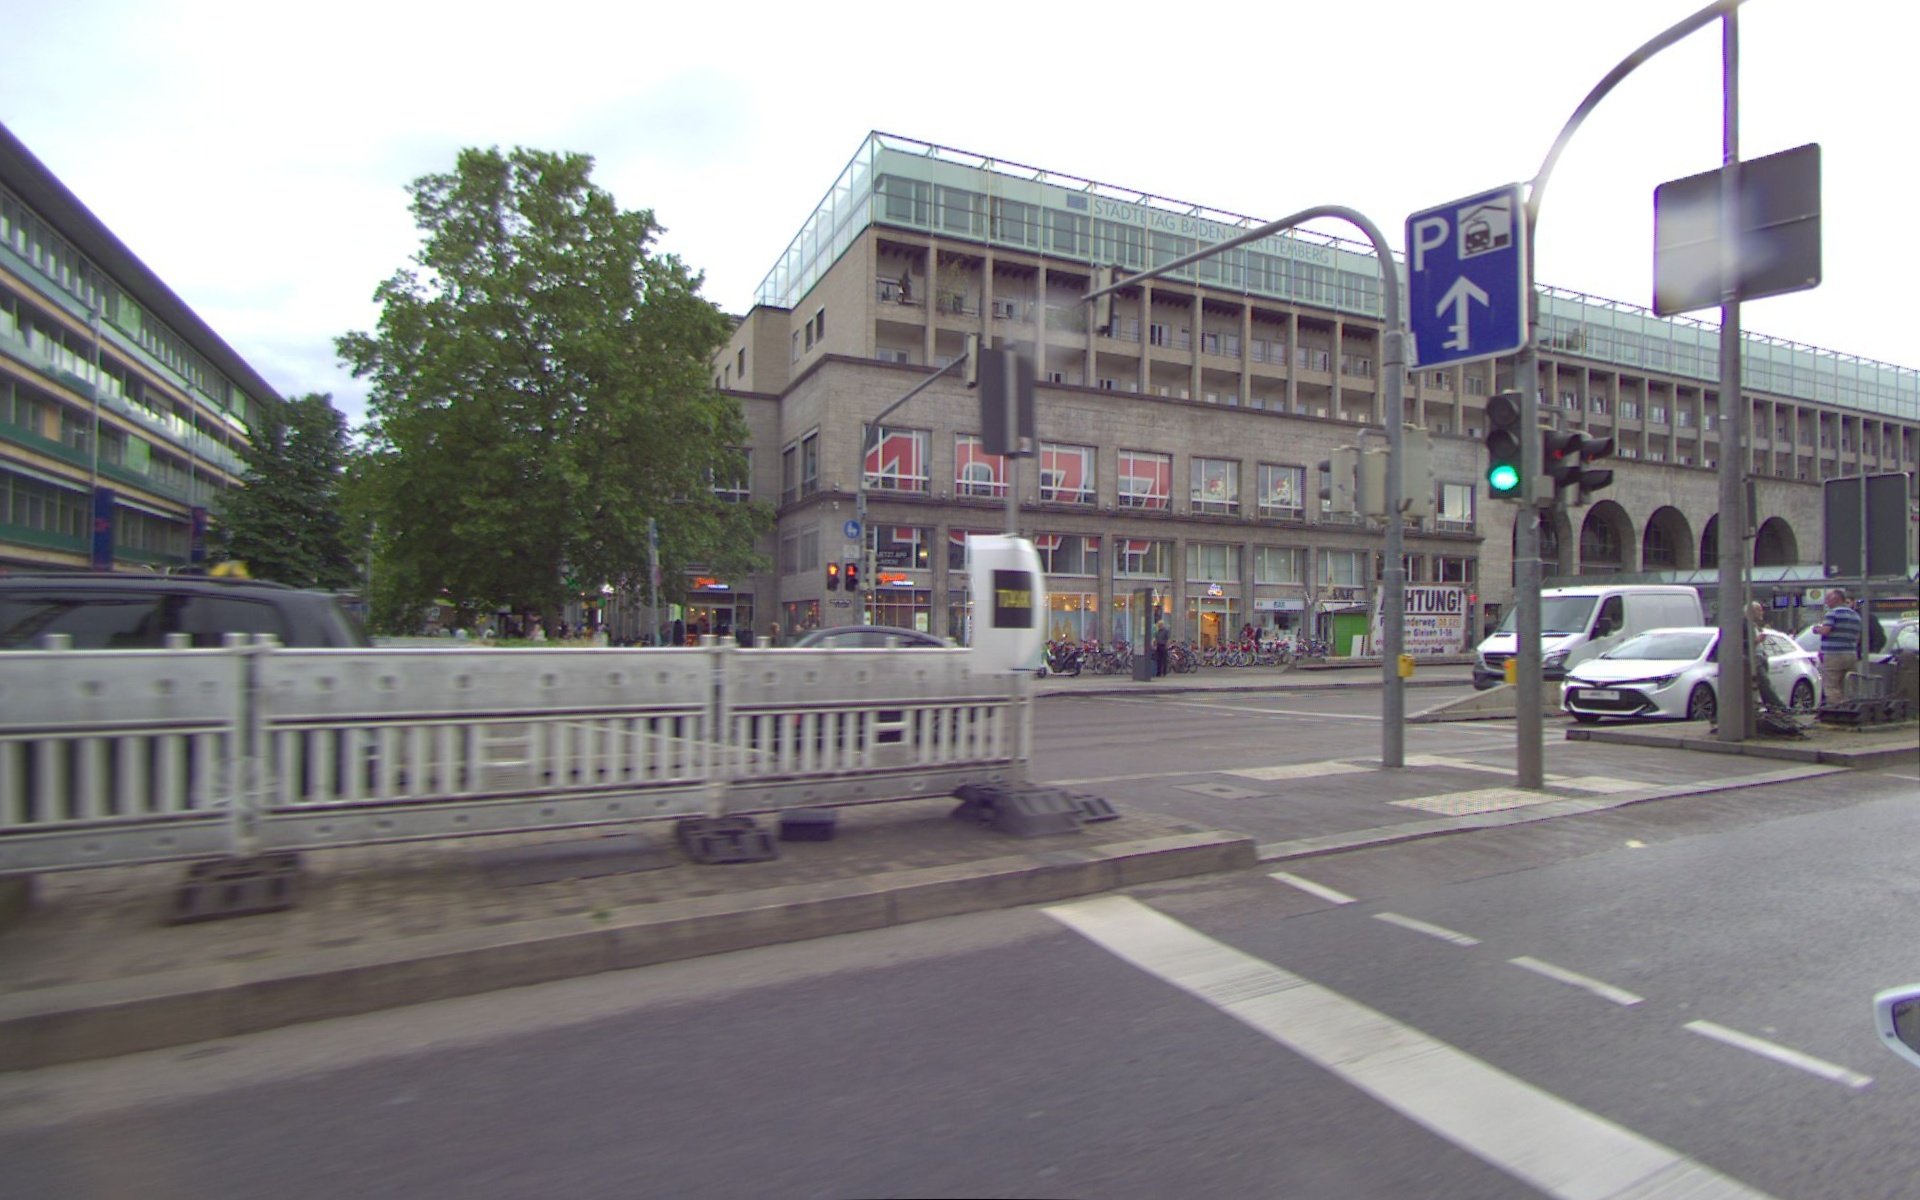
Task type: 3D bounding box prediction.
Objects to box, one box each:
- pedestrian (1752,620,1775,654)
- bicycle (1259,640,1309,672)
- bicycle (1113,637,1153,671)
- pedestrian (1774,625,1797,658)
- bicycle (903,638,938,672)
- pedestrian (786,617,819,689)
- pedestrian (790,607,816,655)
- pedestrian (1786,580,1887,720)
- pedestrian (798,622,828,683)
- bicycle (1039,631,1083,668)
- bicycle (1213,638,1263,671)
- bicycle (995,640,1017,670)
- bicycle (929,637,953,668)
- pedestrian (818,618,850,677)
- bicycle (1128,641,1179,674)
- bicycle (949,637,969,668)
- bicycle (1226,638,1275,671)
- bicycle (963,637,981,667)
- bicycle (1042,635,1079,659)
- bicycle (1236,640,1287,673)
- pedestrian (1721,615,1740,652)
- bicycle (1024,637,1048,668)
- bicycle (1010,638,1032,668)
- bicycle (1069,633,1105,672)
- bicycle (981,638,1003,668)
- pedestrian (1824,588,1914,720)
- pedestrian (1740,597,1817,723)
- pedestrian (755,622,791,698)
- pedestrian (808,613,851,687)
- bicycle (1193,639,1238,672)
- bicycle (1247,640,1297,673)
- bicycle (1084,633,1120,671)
[{"bbox_3d":[34.289,1.560,42.880,0.695,1.412,0.701,1,1,35],"label":"pedestrian"},{"bbox_3d":[14.485,2.474,45.021,0.673,1.343,2.192,1,-1,-34],"label":"bicycle"},{"bbox_3d":[7.114,2.197,41.361,0.673,1.343,1.656,1,-1,-34],"label":"bicycle"},{"bbox_3d":[36.752,1.854,44.733,0.695,1.412,0.701,1,1,35],"label":"pedestrian"},{"bbox_3d":[-1.476,2.027,37.288,0.672,1.146,1.476,0,1,-30],"label":"bicycle"},{"bbox_3d":[-3.792,1.269,24.176,0.553,1.707,0.747,1,-3,-28],"label":"pedestrian"},{"bbox_3d":[-6.774,1.340,43.236,0.812,2.040,0.871,1,-3,-32],"label":"pedestrian"},{"bbox_3d":[11.611,0.665,13.323,0.737,1.798,0.560,-1,-3,8],"label":"pedestrian"},{"bbox_3d":[-4.068,1.454,27.771,0.522,1.663,0.607,-4,-4,44],"label":"pedestrian"},{"bbox_3d":[4.234,2.059,42.087,1.742,1.454,0.680,1,1,21],"label":"bicycle"},{"bbox_3d":[11.943,2.322,43.238,0.586,1.343,2.192,1,-1,-34],"label":"bicycle"},{"bbox_3d":[1.785,2.145,39.127,0.436,1.071,1.615,0,1,-11],"label":"bicycle"},{"bbox_3d":[-0.726,2.000,38.627,0.693,1.071,1.616,0,1,-10],"label":"bicycle"},{"bbox_3d":[-3.472,1.305,27.655,0.747,1.592,0.469,2,-4,-45],"label":"pedestrian"},{"bbox_3d":[7.151,2.099,37.182,0.590,1.070,2.076,0,1,-33],"label":"bicycle"},{"bbox_3d":[-0.048,2.018,38.767,0.500,1.071,1.616,0,1,-10],"label":"bicycle"},{"bbox_3d":[12.554,2.336,43.525,0.555,1.343,2.192,1,-1,-35],"label":"bicycle"},{"bbox_3d":[0.452,2.009,38.898,0.417,1.071,1.616,0,1,-10],"label":"bicycle"},{"bbox_3d":[3.981,1.858,39.859,1.369,0.862,0.673,0,1,-38],"label":"bicycle"},{"bbox_3d":[13.172,2.471,43.976,0.673,1.343,2.192,1,-1,-34],"label":"bicycle"},{"bbox_3d":[32.064,1.392,41.826,0.575,1.527,0.624,1,1,35],"label":"pedestrian"},{"bbox_3d":[2.982,2.036,39.410,0.426,1.125,1.604,0,1,-15],"label":"bicycle"},{"bbox_3d":[2.385,2.059,39.292,0.448,1.071,1.615,0,1,-11],"label":"bicycle"},{"bbox_3d":[5.070,2.081,40.143,0.561,1.454,1.473,0,1,-36],"label":"bicycle"},{"bbox_3d":[1.233,2.045,38.883,0.489,1.071,1.615,0,1,-12],"label":"bicycle"},{"bbox_3d":[12.806,0.762,14.158,0.601,1.798,0.776,1,-4,-37],"label":"pedestrian"},{"bbox_3d":[11.670,0.828,14.329,0.585,1.734,0.648,0,1,-27],"label":"pedestrian"},{"bbox_3d":[-4.404,1.402,23.645,0.650,1.709,0.595,0,4,-29],"label":"pedestrian"},{"bbox_3d":[-2.865,1.108,22.084,0.746,1.592,0.554,1,-4,-39],"label":"pedestrian"},{"bbox_3d":[11.028,2.371,43.354,0.673,1.343,1.915,1,-1,-34],"label":"bicycle"},{"bbox_3d":[13.778,2.473,44.423,0.673,1.343,2.192,1,-1,-34],"label":"bicycle"},{"bbox_3d":[5.704,2.085,40.404,0.509,1.454,1.473,0,1,-36],"label":"bicycle"}]
